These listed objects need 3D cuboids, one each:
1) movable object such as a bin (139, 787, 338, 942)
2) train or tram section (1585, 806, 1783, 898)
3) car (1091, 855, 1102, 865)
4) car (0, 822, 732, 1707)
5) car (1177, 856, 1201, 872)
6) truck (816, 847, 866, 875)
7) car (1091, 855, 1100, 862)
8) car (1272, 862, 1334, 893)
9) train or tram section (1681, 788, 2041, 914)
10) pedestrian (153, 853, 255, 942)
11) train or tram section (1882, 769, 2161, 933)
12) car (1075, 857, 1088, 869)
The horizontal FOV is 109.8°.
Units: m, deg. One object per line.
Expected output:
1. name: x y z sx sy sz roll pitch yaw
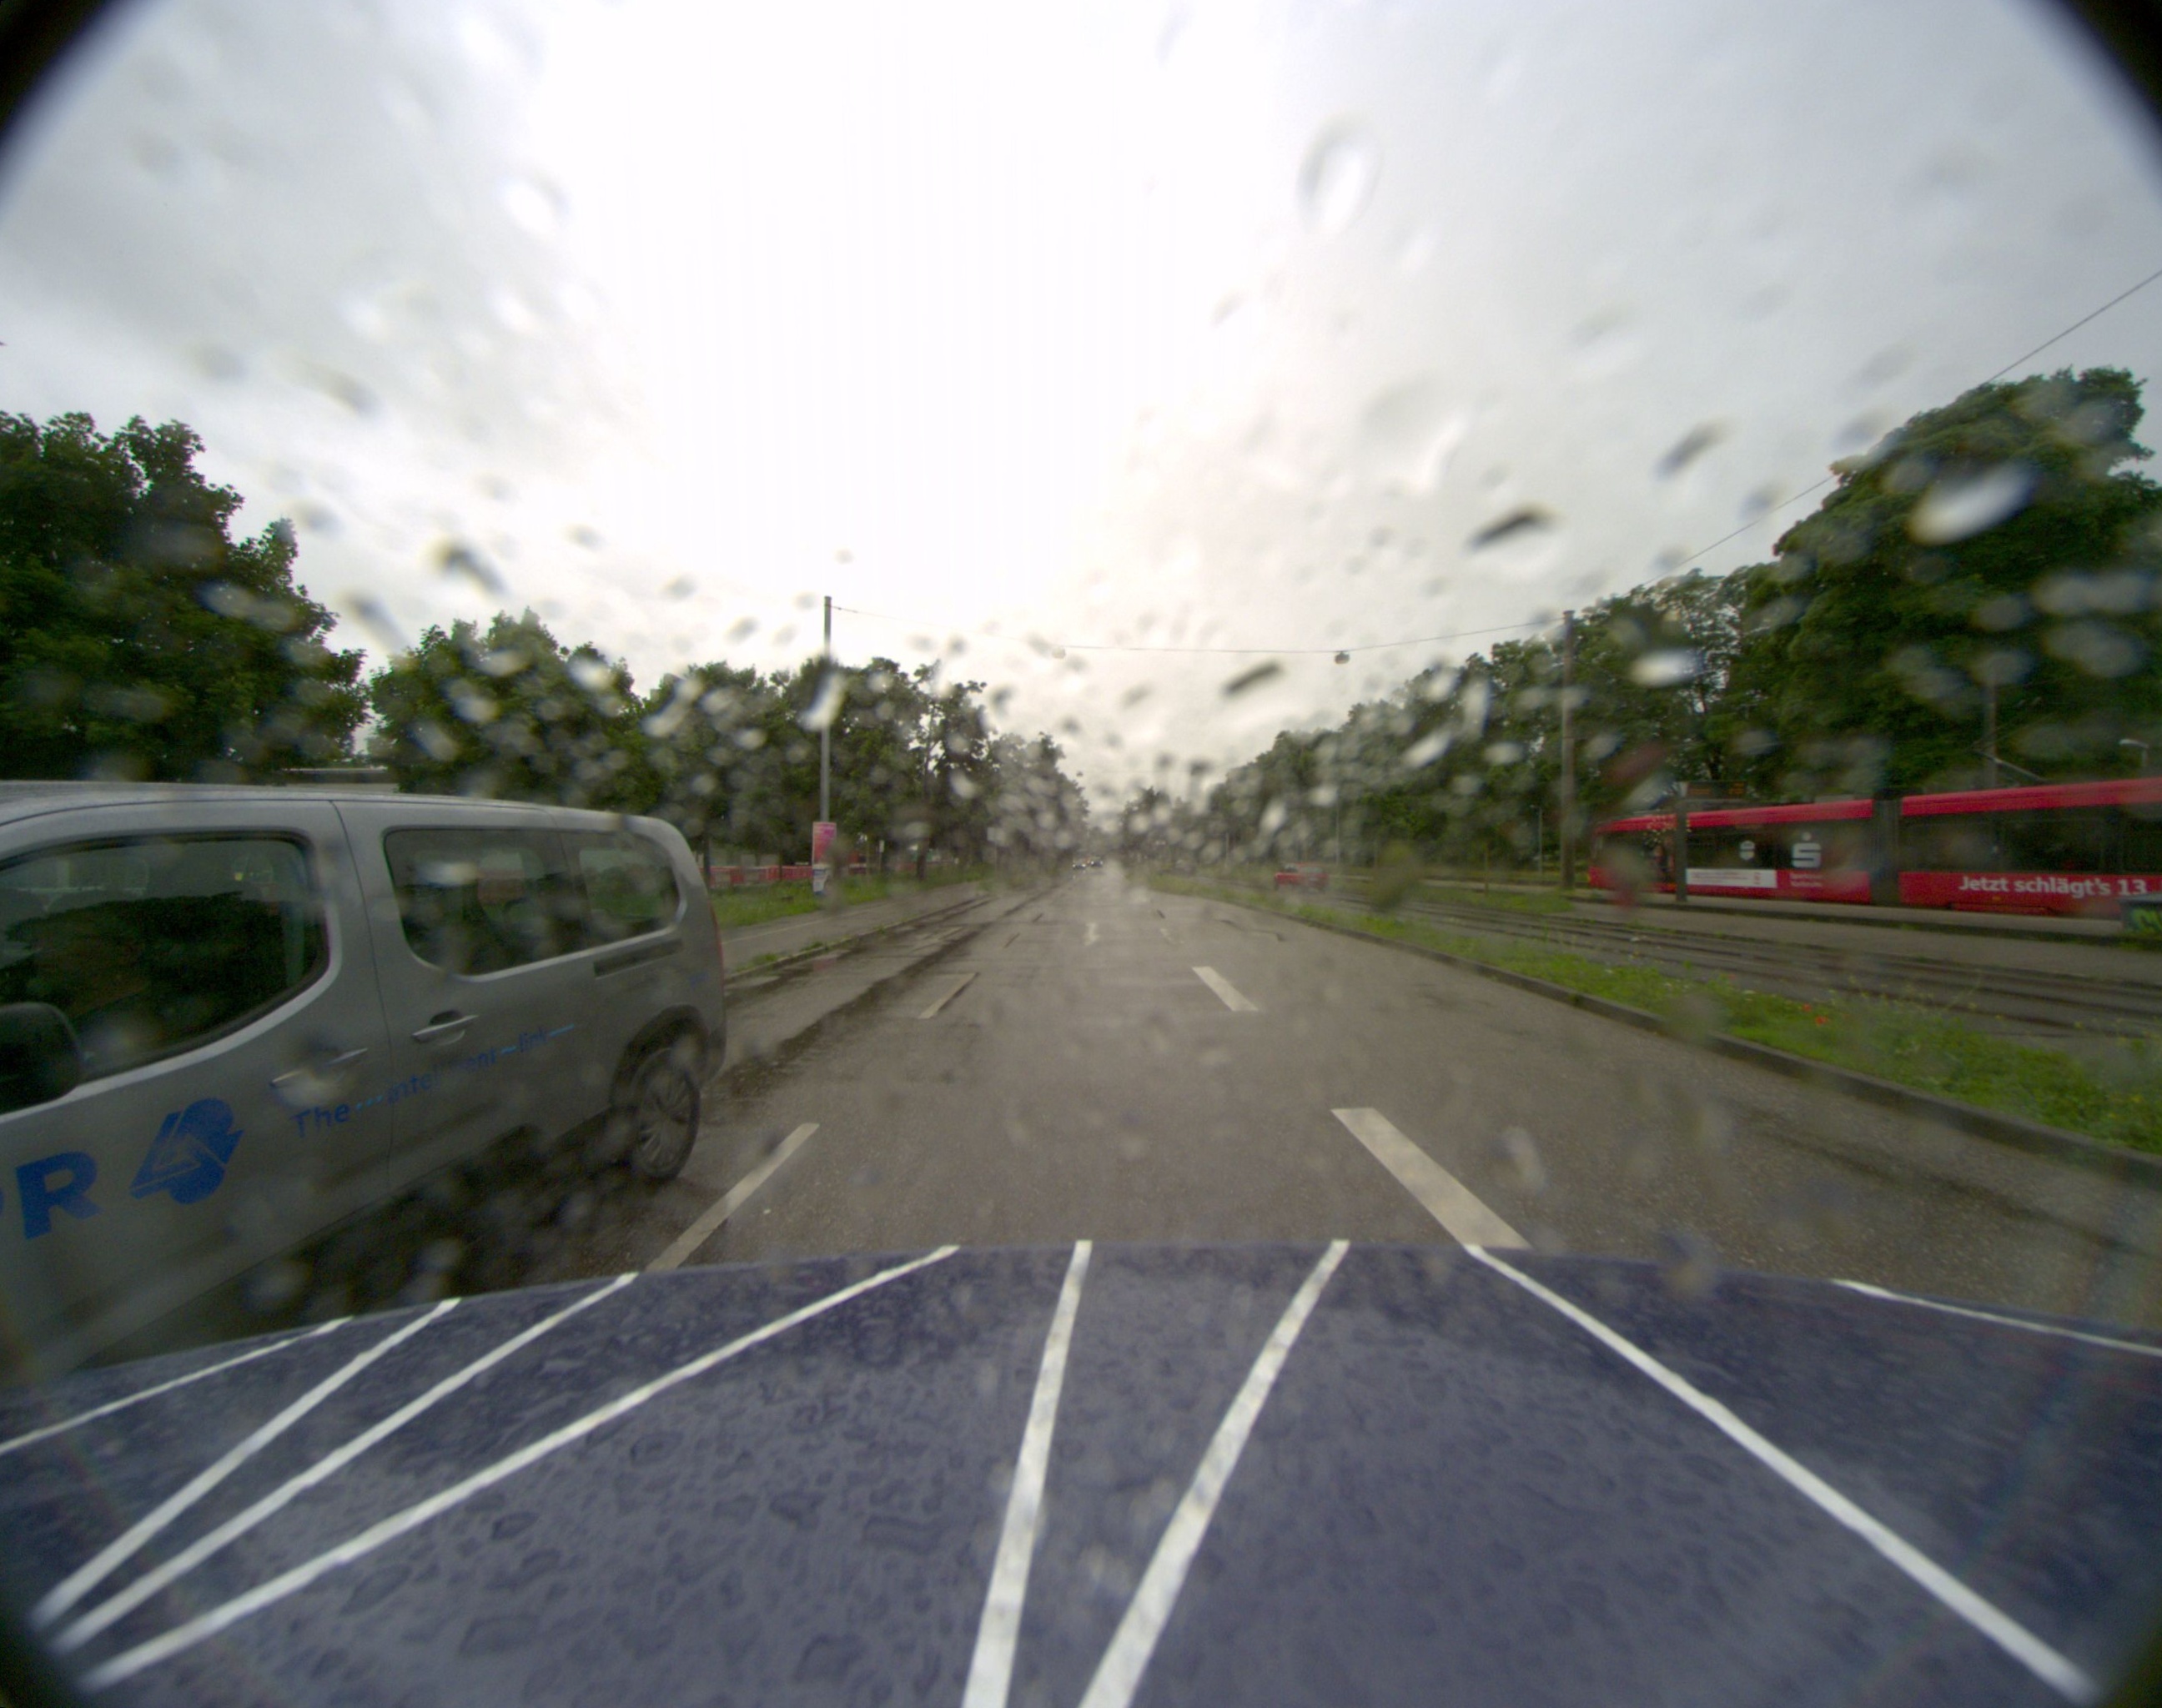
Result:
1. movable object such as a bin: -26.145 0.286 23.801 1.557 4.401 3.909 -2 1 2
2. train or tram section: 24.240 -0.082 31.018 3.542 3.398 5.769 0 0 1
3. car: 2.858 1.003 138.659 1.812 1.683 3.776 -2 1 0
4. car: -2.983 0.861 1.953 1.998 1.785 4.562 -2 0 0
5. car: 10.153 0.928 71.518 1.741 1.428 3.820 -1 1 1
6. truck: -27.004 0.669 85.981 2.811 2.882 8.749 -2 1 0
7. car: 3.375 1.013 177.093 1.898 1.602 4.000 -2 1 1
8. car: 10.793 1.089 37.219 1.685 1.353 4.251 2 0 -1
9. train or tram section: 24.136 -0.087 24.441 3.542 3.392 7.903 0 0 1
10. pedestrian: -20.081 0.965 17.426 0.815 1.925 1.212 -2 1 -1
11. train or tram section: 24.022 -0.074 16.032 3.542 3.381 10.261 0 0 1
12. car: 0.053 1.348 114.834 1.858 1.583 3.999 -2 1 -1
